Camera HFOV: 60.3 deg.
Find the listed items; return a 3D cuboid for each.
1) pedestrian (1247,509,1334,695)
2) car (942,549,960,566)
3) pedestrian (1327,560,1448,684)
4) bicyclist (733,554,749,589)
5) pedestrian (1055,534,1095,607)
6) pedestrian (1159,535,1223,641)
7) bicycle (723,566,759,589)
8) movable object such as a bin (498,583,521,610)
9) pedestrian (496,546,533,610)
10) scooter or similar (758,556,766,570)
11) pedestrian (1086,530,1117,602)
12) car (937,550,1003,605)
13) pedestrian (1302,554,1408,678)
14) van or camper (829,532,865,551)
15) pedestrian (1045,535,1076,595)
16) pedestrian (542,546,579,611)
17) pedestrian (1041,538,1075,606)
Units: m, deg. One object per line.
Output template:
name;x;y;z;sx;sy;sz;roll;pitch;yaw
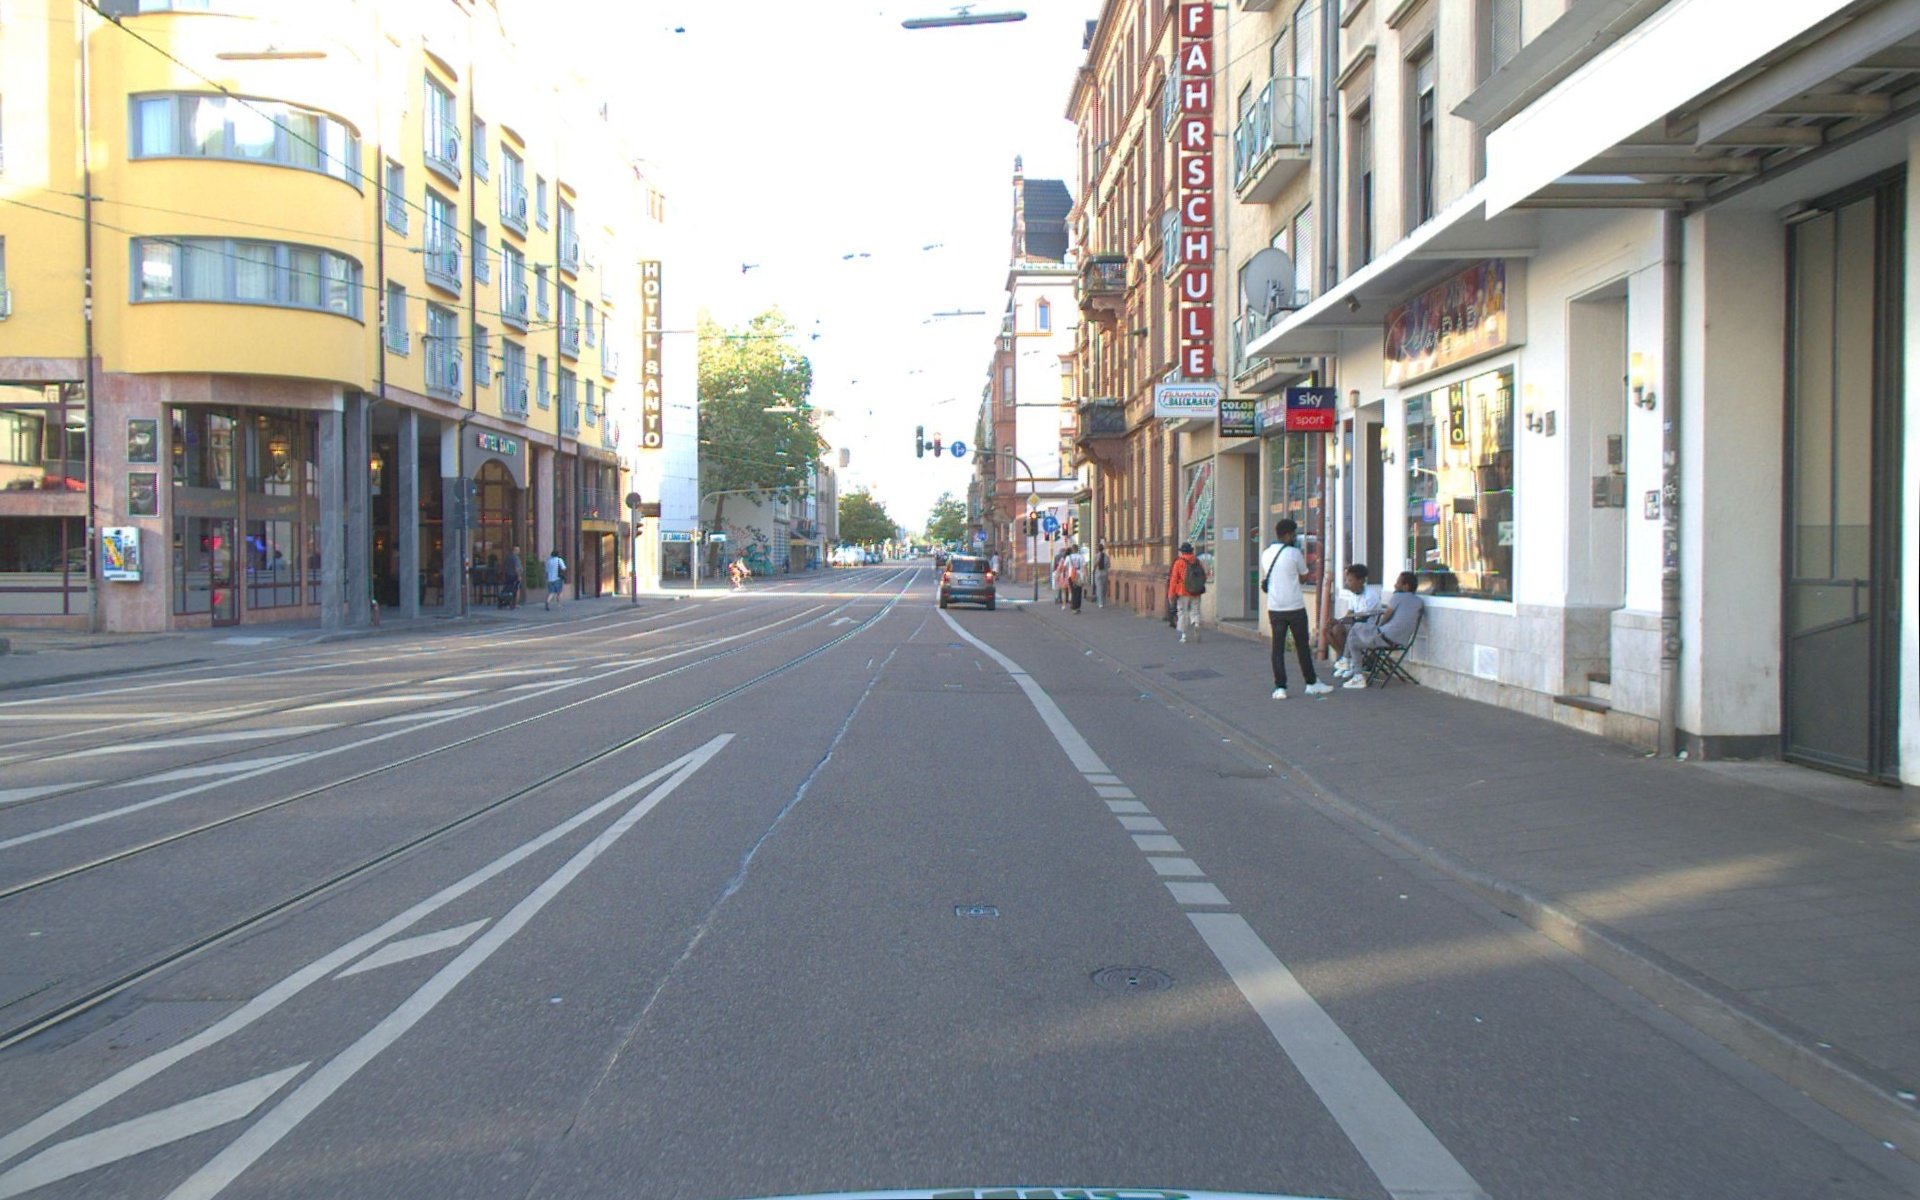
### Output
pedestrian;3.455;0.013;17.274;0.690;1.842;0.680;-5;2;15
car;-0.951;-4.510;175.573;1.910;1.713;4.001;0;1;0
pedestrian;4.504;0.222;17.477;0.695;1.194;1.010;-7;2;-20
bicyclist;-10.578;-1.362;79.841;0.726;1.662;0.607;2;0;-8
pedestrian;3.006;-0.773;43.254;0.789;1.830;1.091;-4;2;-2
pedestrian;3.836;-0.218;27.479;0.782;1.655;0.825;-6;2;-1
bicycle;-10.581;-1.076;79.779;1.681;1.052;0.598;2;0;-7
movable object such as a bin;-12.969;-0.096;47.592;0.375;0.728;0.841;4;2;0
pedestrian;-13.041;-0.643;48.397;0.782;1.801;0.749;4;2;-1
scooter or similar;-15.144;-2.828;126.496;0.506;1.075;1.478;0;1;-3
pedestrian;3.974;-0.964;46.504;0.677;1.941;0.670;-4;2;-2
car;0.278;-0.745;53.019;1.953;1.646;4.000;2;1;-1
pedestrian;4.429;0.176;18.549;0.822;1.276;0.698;-7;2;-36
van or camper;-15.320;-7.944;224.723;4.590;2.608;1.978;0;1;-32
pedestrian;3.157;-1.113;52.089;0.789;1.830;0.761;-4;2;-1
pedestrian;-11.766;-0.637;48.782;0.736;1.850;1.046;4;2;-1
pedestrian;2.779;-0.802;46.903;0.789;1.830;0.761;-4;2;-2
